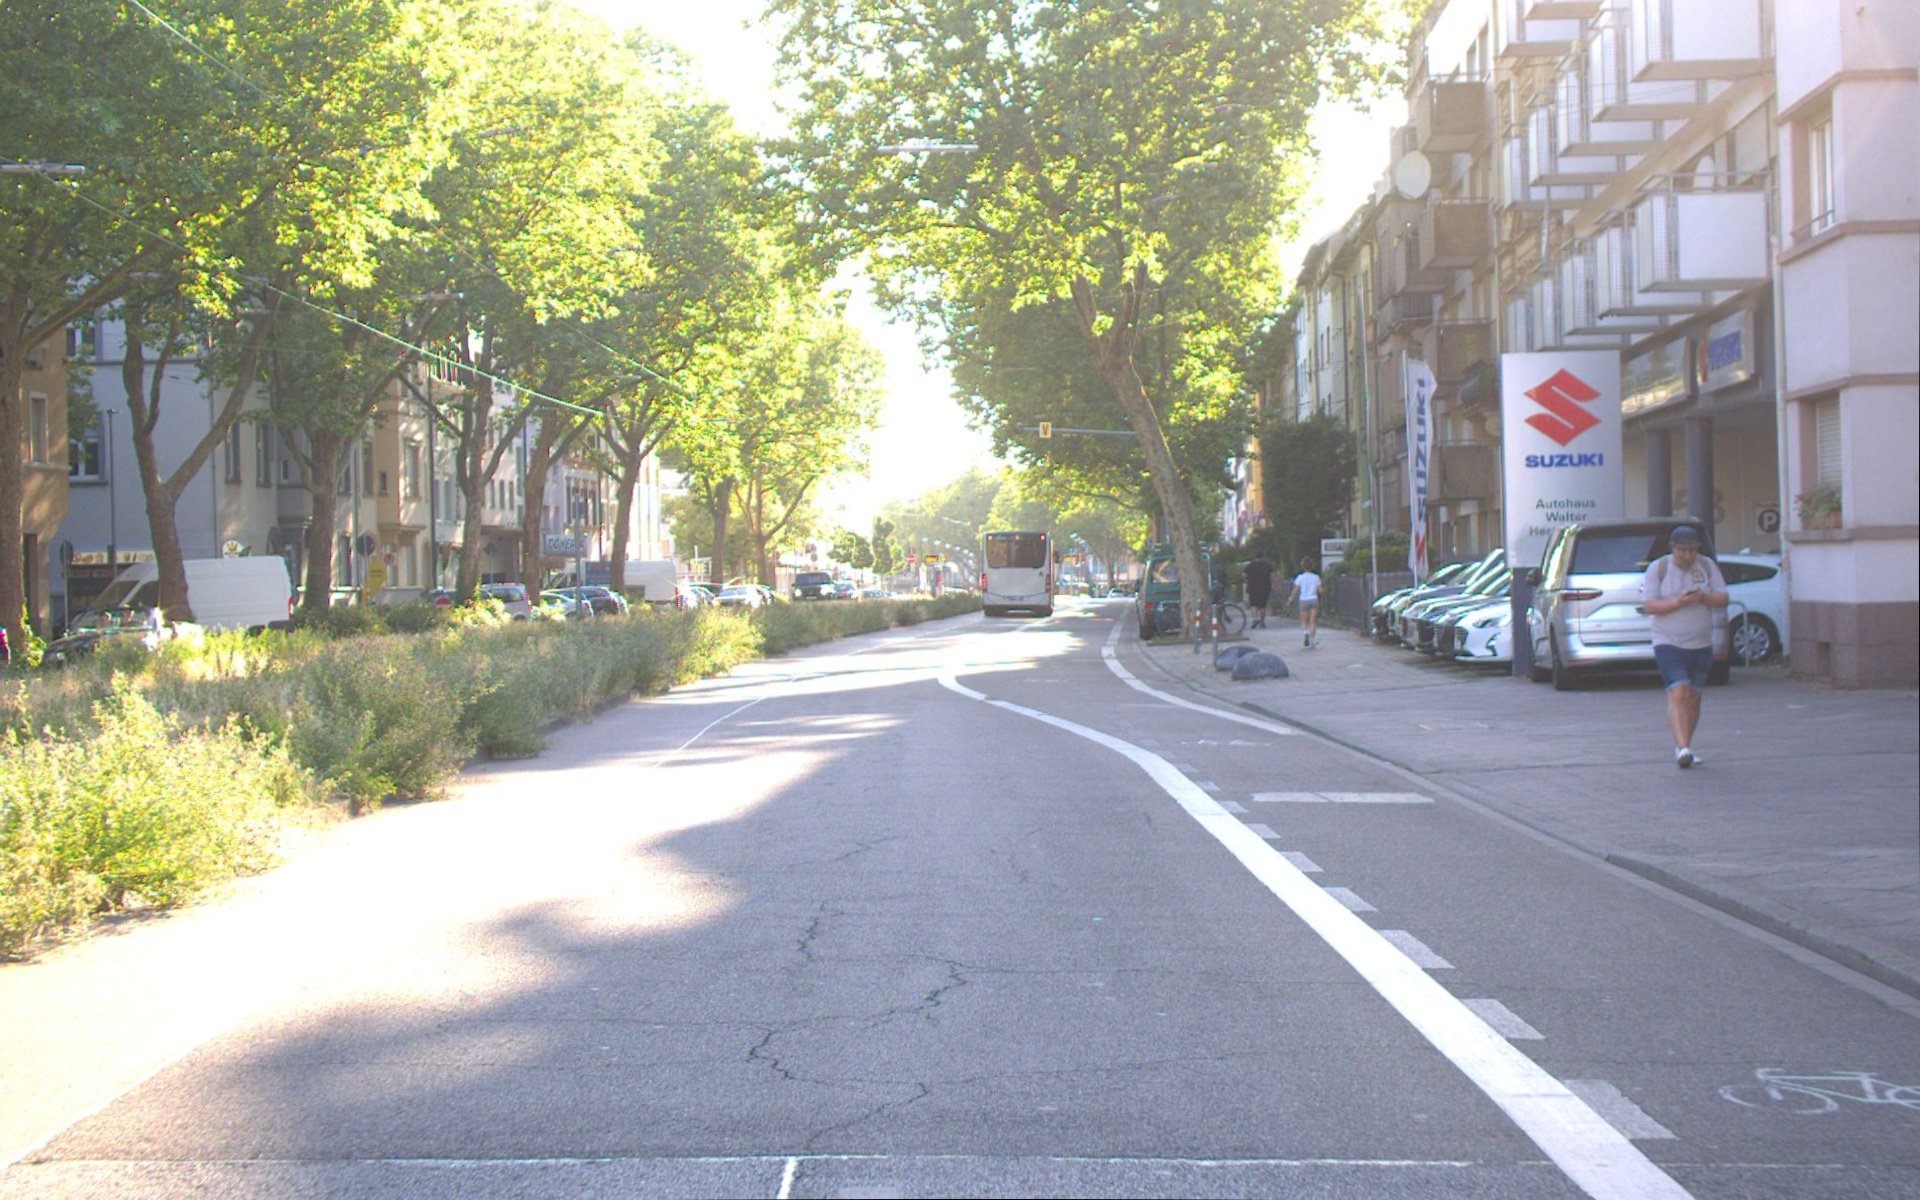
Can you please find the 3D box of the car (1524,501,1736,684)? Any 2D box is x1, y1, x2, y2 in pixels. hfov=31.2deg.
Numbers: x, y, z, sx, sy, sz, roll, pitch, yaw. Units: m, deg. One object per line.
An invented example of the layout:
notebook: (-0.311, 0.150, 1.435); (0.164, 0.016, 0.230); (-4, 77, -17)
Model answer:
car: (7.641, -0.074, 39.620); (1.893, 1.942, 4.899); (-1, 0, 6)

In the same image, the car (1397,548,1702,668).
car: (8.040, 0.097, 47.116); (3.868, 1.509, 1.809); (-1, 1, 1)

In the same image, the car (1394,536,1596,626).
car: (9.737, -0.333, 62.712); (3.418, 1.541, 1.442); (-1, 0, 0)

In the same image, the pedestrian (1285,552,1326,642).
pedestrian: (6.324, -0.058, 63.023); (0.663, 1.623, 0.922); (-1, 0, 3)

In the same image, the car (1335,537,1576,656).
car: (7.678, -0.064, 53.548); (3.581, 1.714, 1.682); (-1, 2, 5)

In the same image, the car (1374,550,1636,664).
car: (7.763, 0.092, 49.171); (3.418, 1.520, 1.741); (-1, 1, -1)

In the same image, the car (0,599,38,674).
car: (-19.663, 0.734, 65.386); (3.717, 1.417, 1.721); (-2, 1, -39)

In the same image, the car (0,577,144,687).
car: (-13.562, 0.470, 50.641); (1.716, 1.481, 4.699); (-4, 0, 2)

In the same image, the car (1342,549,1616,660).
car: (7.727, 0.055, 51.440); (3.819, 1.535, 1.859); (-1, 1, 1)

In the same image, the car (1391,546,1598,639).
car: (9.290, -0.128, 59.927); (3.418, 1.513, 1.757); (-1, 0, 5)

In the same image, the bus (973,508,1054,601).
bus: (1.934, -1.639, 127.469); (2.833, 3.224, 8.182); (-1, 0, 0)

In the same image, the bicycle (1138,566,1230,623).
bicycle: (4.597, -0.110, 70.545); (1.845, 1.139, 0.348); (-1, 0, 3)

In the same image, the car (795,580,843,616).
car: (-6.873, -0.085, 167.262); (1.869, 1.688, 4.777); (-1, 0, -8)

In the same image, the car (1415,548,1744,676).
car: (7.924, 0.141, 44.213); (3.810, 1.496, 1.914); (-1, 2, -2)

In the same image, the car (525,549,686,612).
car: (-16.110, -0.890, 156.234); (6.935, 2.669, 2.186); (-1, 0, -18)

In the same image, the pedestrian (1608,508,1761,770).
pedestrian: (5.158, 0.275, 24.545); (0.828, 1.806, 1.150); (-1, 0, 1)

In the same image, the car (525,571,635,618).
car: (-15.529, -0.209, 140.563); (3.987, 1.693, 1.856); (-3, 1, -28)

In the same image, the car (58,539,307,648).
car: (-18.927, -0.172, 83.844); (5.492, 2.520, 2.125); (-2, 1, -39)

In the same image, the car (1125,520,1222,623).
car: (4.882, -0.625, 79.214); (1.993, 2.249, 5.235); (-1, 0, 2)
